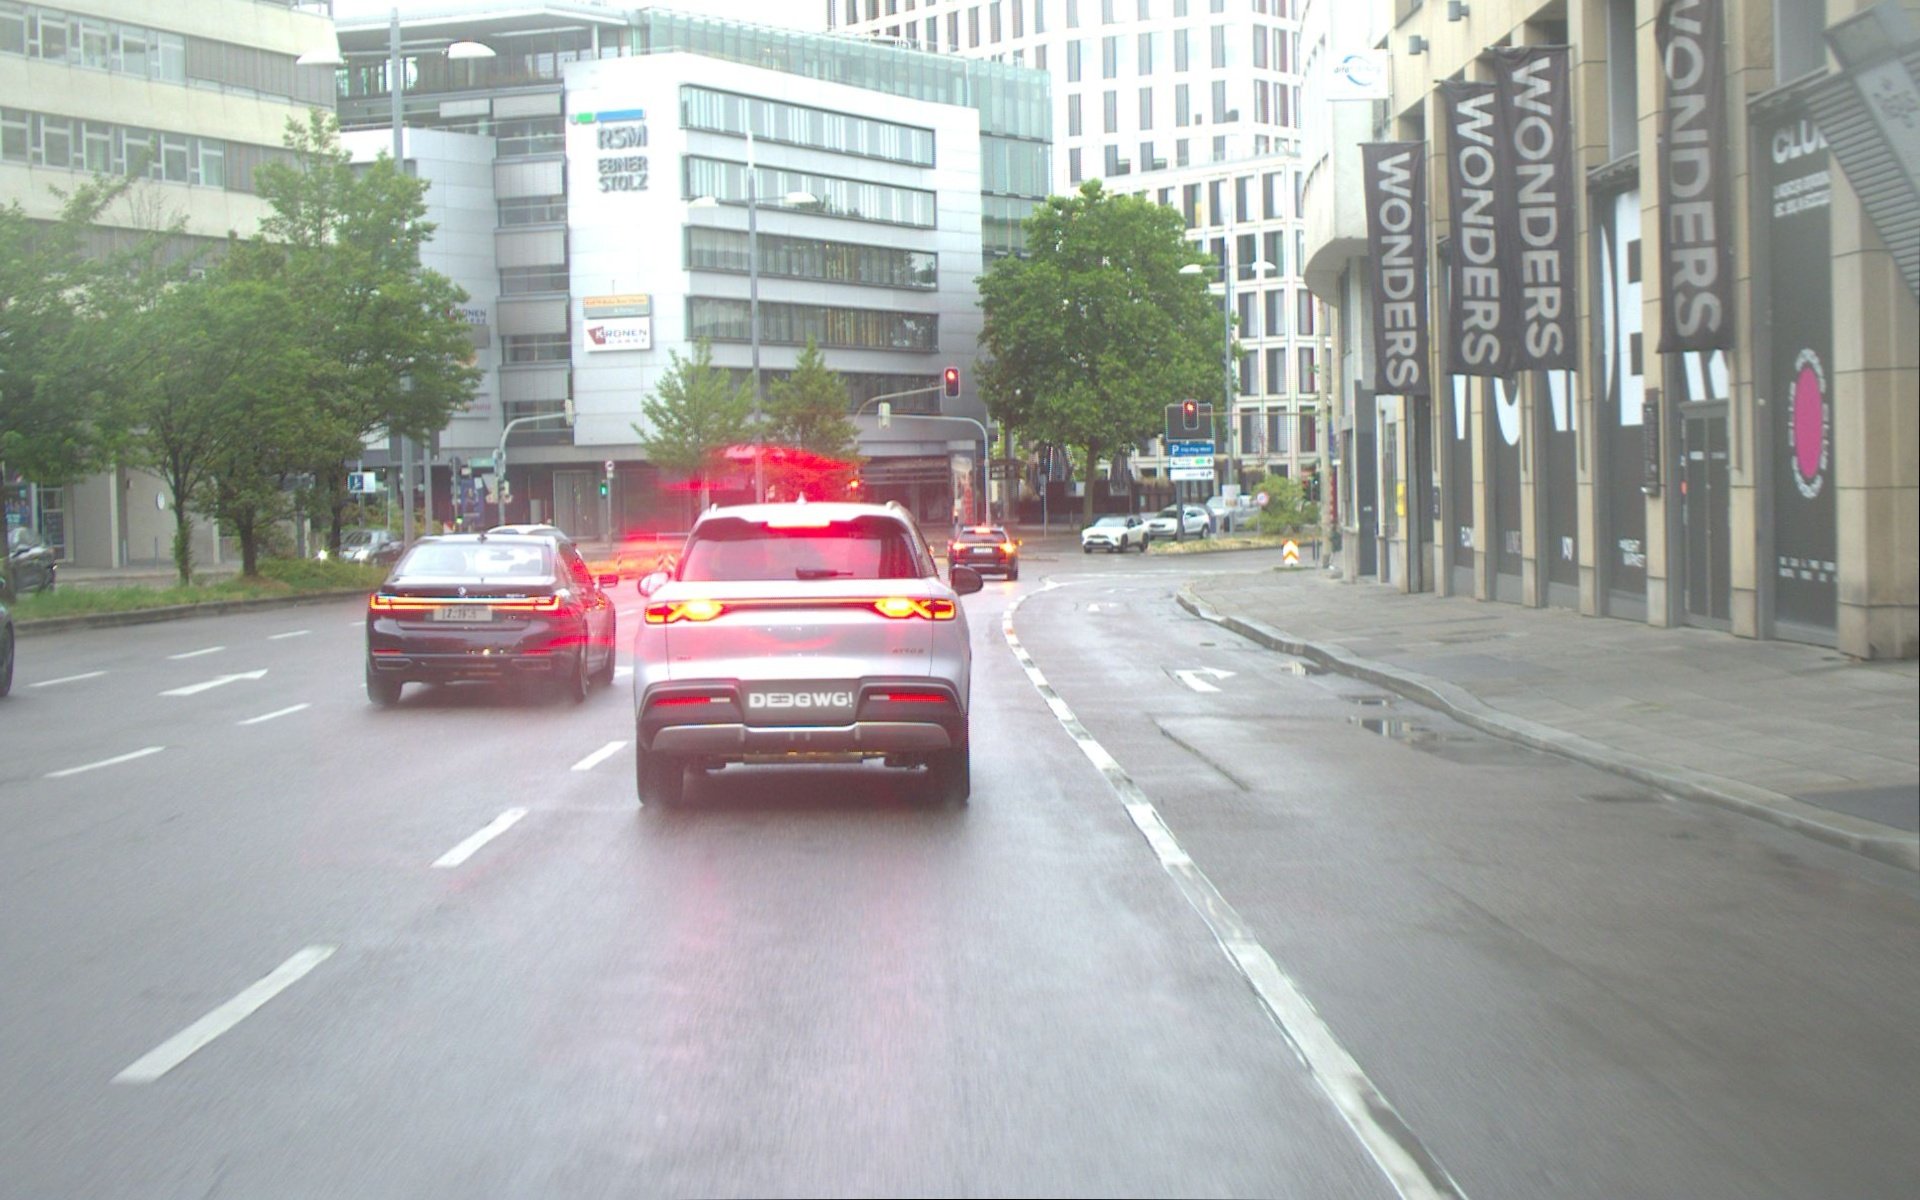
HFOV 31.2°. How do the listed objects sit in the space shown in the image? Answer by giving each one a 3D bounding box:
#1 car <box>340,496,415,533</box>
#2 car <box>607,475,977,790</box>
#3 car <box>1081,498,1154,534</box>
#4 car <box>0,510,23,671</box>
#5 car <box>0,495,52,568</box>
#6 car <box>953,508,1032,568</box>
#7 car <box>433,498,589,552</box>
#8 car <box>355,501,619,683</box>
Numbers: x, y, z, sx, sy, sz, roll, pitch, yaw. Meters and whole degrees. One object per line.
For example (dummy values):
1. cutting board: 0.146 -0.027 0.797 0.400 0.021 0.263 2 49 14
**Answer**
1. car: -18.178 -2.685 107.428 1.580 1.086 4.000 -1 2 1
2. car: -0.893 0.108 19.721 1.901 1.616 4.001 0 2 -1
3. car: 7.016 -3.762 153.026 1.583 1.533 3.994 1 2 30
4. car: -9.469 -0.046 30.006 1.774 1.452 4.001 -1 1 -5
5. car: -19.822 -1.384 69.737 1.623 1.448 4.162 -1 1 1
6. car: 0.905 -1.724 94.473 1.812 1.573 4.000 0 2 6
7. car: -11.527 -1.936 88.196 3.996 1.337 1.655 1 2 39
8. car: -4.233 -0.134 31.448 1.872 1.474 4.879 -1 2 -2
